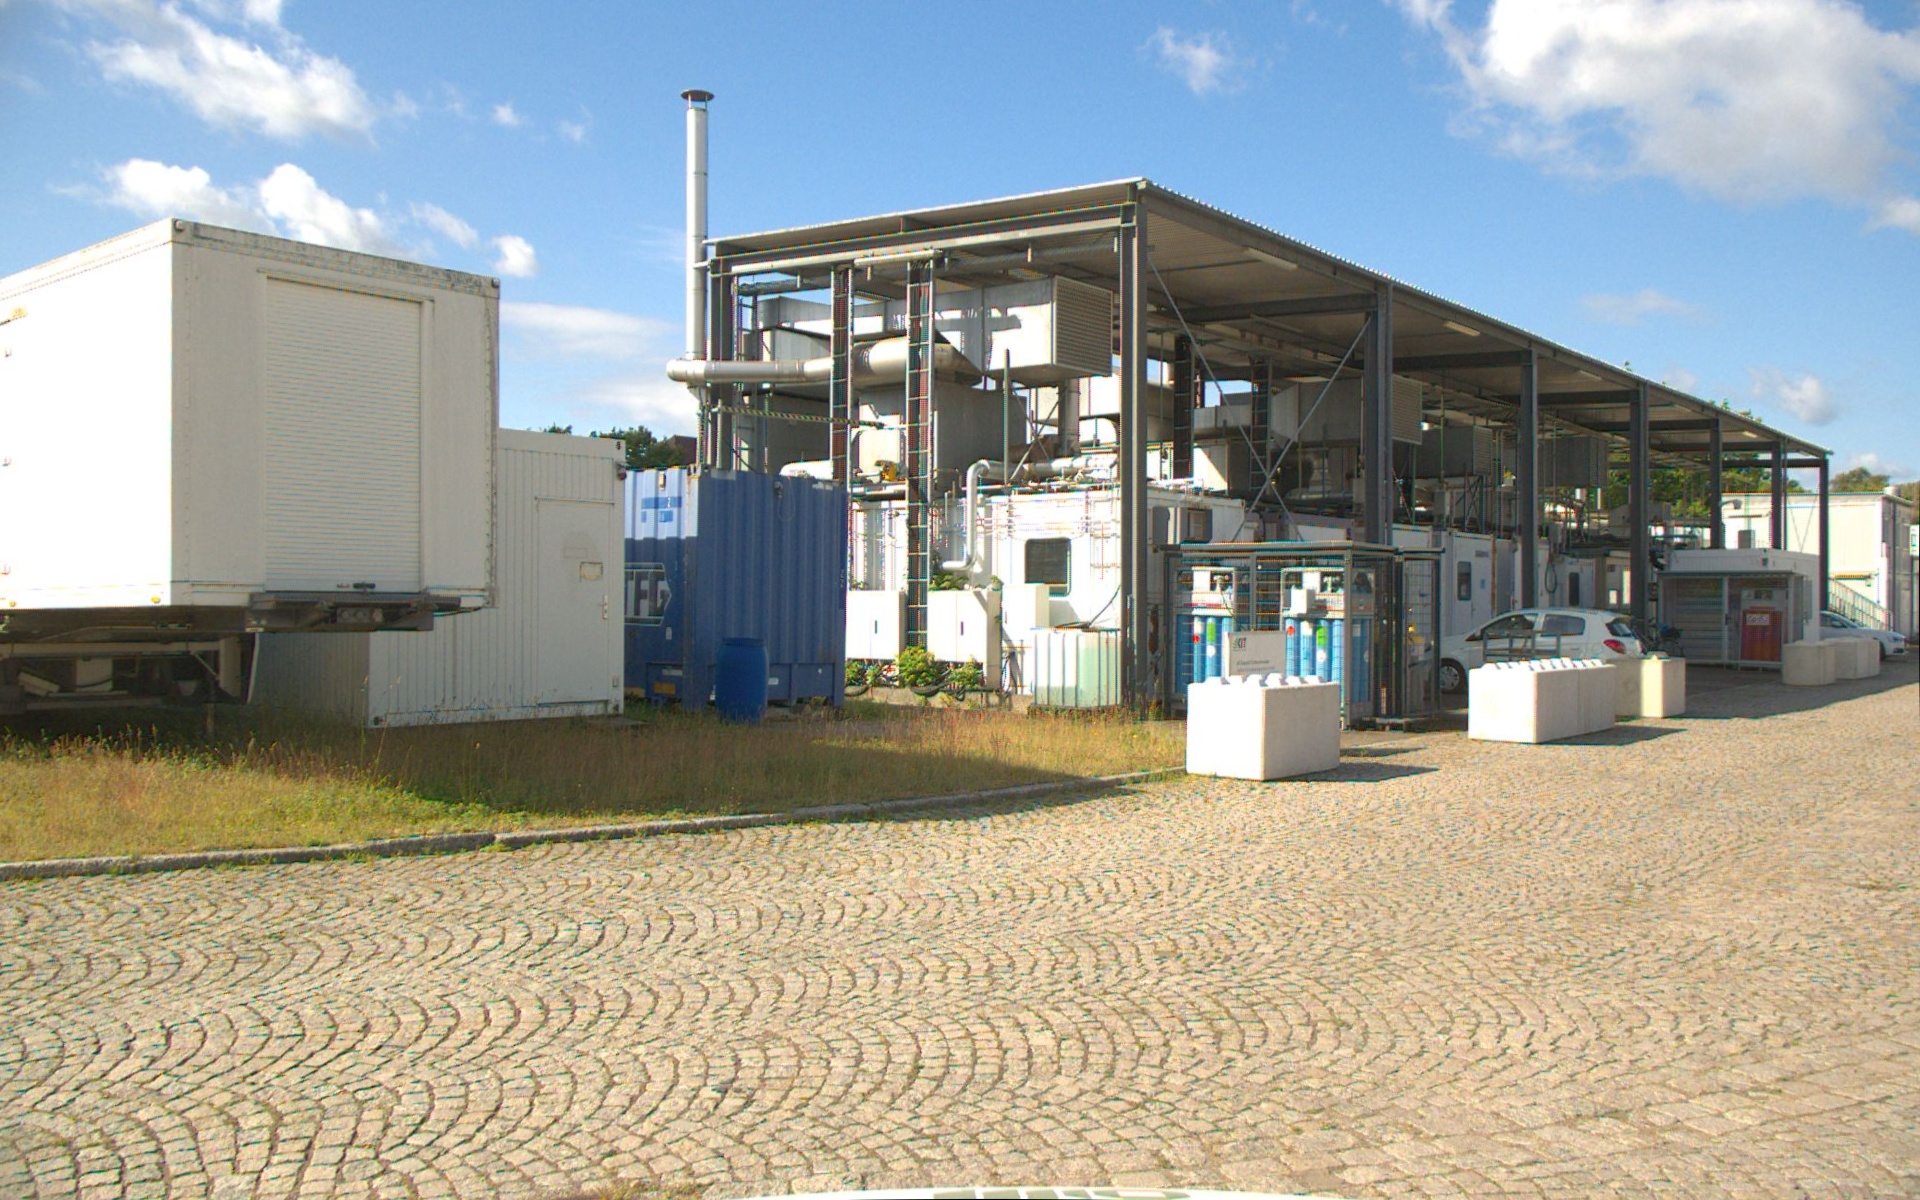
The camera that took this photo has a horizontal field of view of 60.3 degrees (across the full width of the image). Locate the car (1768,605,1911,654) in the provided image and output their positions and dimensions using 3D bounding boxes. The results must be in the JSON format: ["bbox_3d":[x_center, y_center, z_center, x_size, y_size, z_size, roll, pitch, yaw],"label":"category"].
[{"bbox_3d":[26.402,0.866,49.694,3.623,1.433,1.669,0,0,35],"label":"car"}]

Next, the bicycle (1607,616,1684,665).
[{"bbox_3d":[16.442,0.956,39.675,1.638,1.156,0.483,0,-1,37],"label":"bicycle"}]

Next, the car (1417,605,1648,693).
[{"bbox_3d":[9.651,0.785,27.930,3.403,1.400,1.605,0,0,35],"label":"car"}]

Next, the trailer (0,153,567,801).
[{"bbox_3d":[-7.857,-0.760,14.708,10.686,3.979,2.766,0,0,41],"label":"trailer"}]
